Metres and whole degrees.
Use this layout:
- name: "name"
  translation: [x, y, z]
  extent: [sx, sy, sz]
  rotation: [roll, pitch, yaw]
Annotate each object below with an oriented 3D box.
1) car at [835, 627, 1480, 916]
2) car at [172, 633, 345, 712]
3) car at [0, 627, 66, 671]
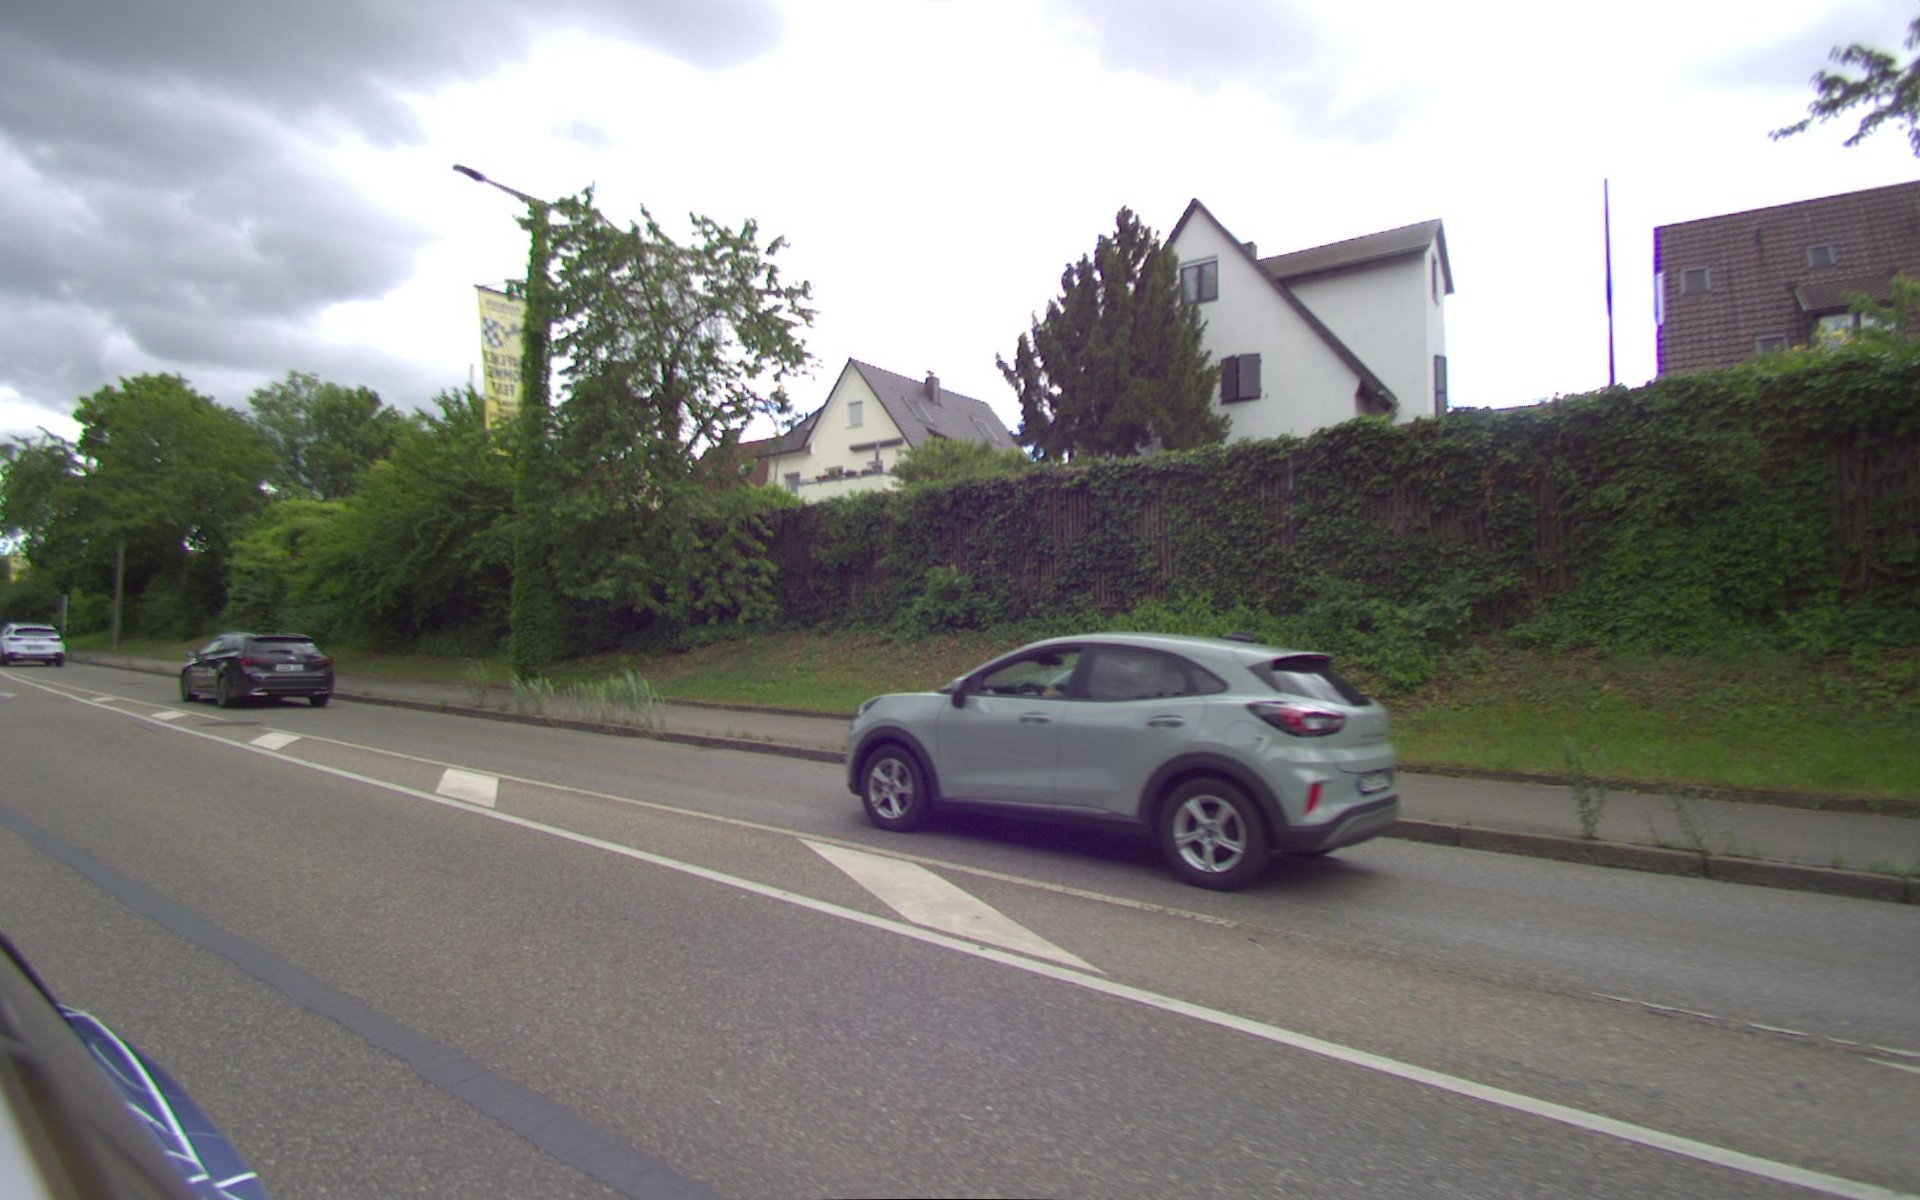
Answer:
- name: "car"
  translation: [1.219, 0.970, 7.201]
  extent: [4.139, 1.468, 1.808]
  rotation: [-1, -5, 40]
- name: "car"
  translation: [-14.108, 1.404, 20.277]
  extent: [4.212, 1.411, 1.748]
  rotation: [-1, -5, 40]
- name: "car"
  translation: [-36.578, 1.897, 39.574]
  extent: [4.156, 1.633, 1.823]
  rotation: [-1, -4, 41]
